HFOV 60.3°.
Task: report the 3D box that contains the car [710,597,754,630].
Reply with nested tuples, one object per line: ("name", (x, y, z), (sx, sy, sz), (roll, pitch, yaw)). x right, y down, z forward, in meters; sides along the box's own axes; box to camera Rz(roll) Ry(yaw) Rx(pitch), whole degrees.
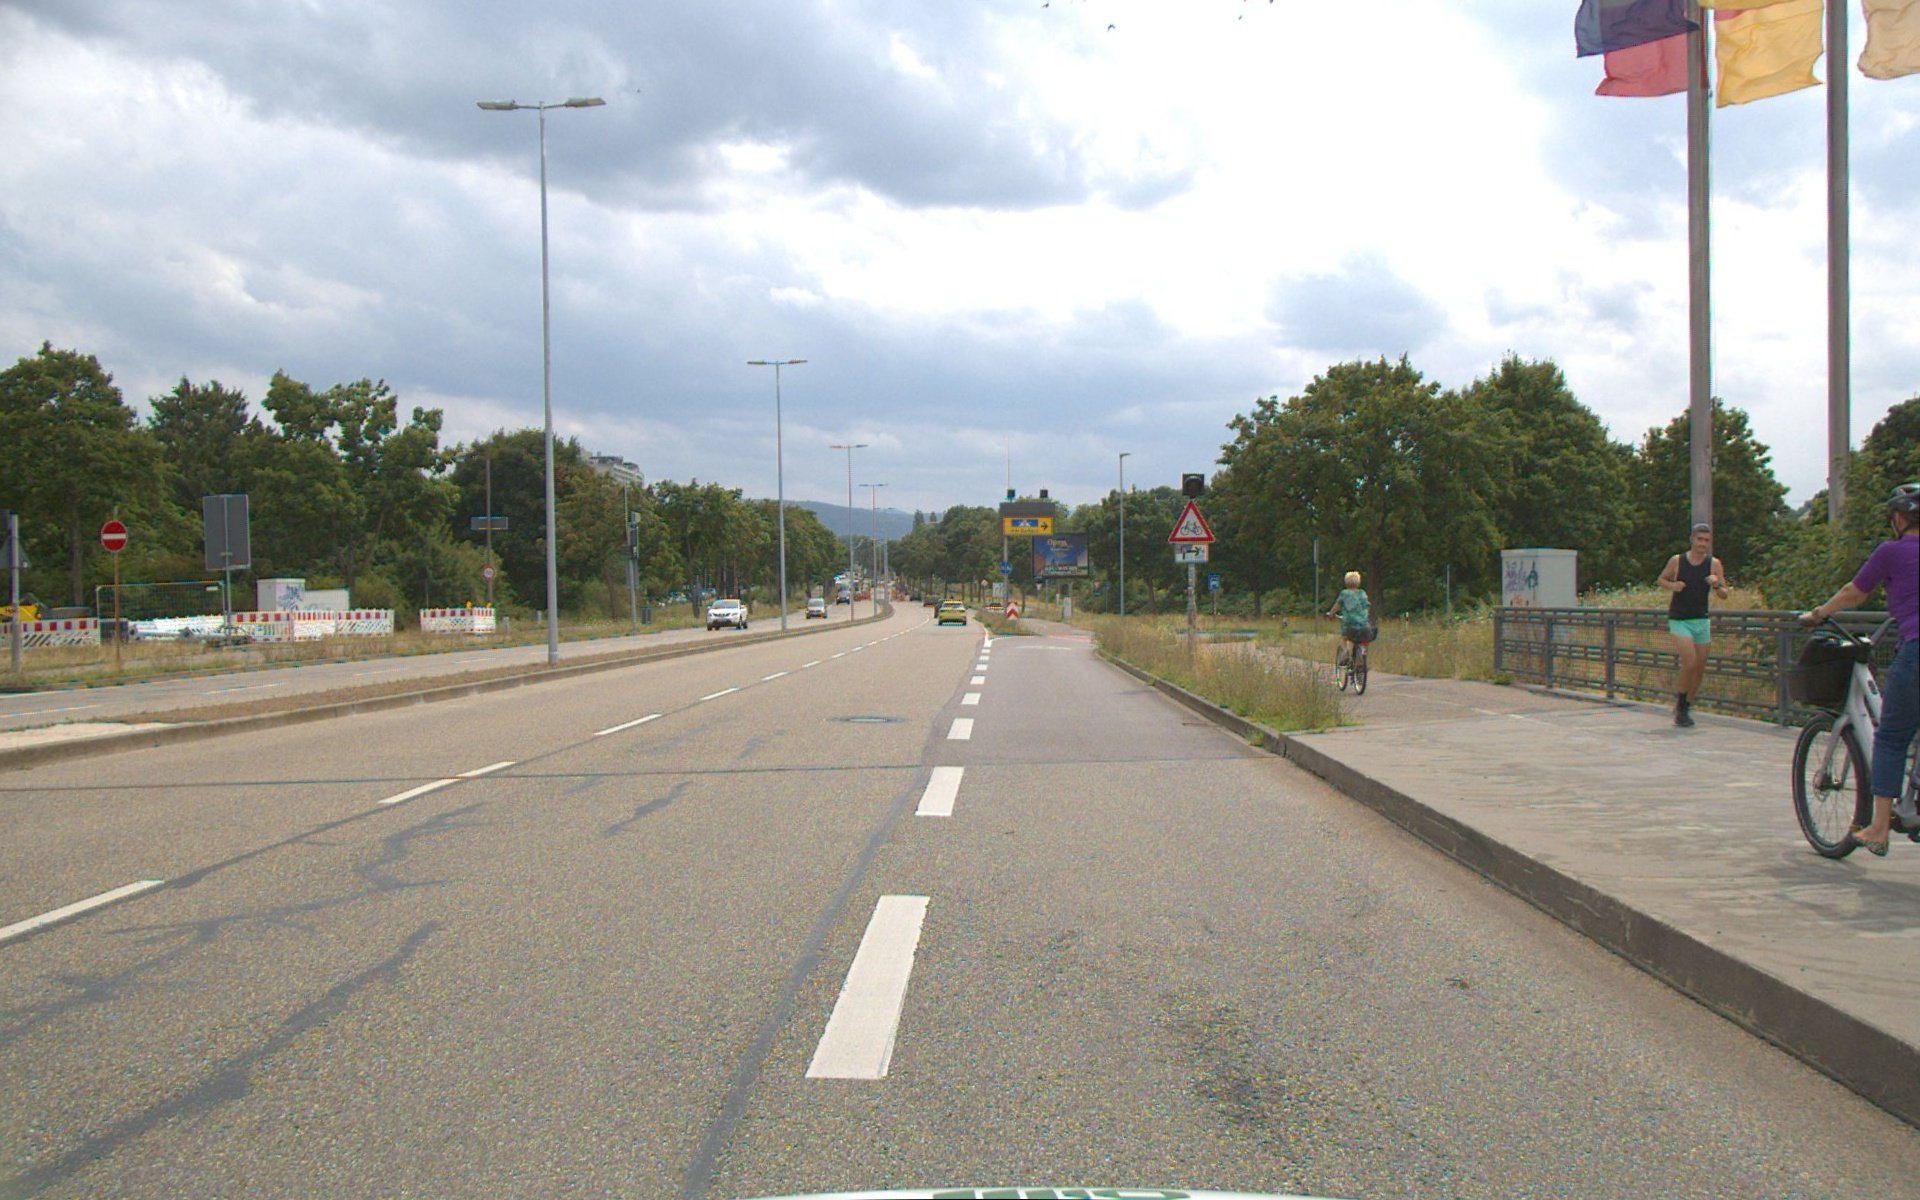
("car", (-12.137, 0.700, 88.152), (1.659, 1.657, 4.385), (0, 1, 1))

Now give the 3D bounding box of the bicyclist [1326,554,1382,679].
("bicyclist", (5.411, 0.215, 22.748), (0.609, 1.695, 0.669), (0, 1, -1))

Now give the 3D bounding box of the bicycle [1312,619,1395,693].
("bicycle", (5.423, 0.749, 22.898), (0.610, 0.904, 2.154), (0, 1, -1))

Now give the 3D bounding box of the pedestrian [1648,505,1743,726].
("pedestrian", (6.980, 0.137, 15.711), (0.614, 2.049, 0.668), (0, 1, 1))

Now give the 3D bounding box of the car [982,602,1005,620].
("car", (3.259, 1.076, 161.792), (1.973, 1.699, 3.999), (0, 1, -2))

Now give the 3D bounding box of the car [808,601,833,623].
("car", (-12.553, 1.096, 148.962), (1.864, 1.841, 4.539), (0, 1, 0))

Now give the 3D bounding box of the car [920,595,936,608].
("car", (-4.368, 0.163, 224.680), (2.161, 1.713, 4.000), (0, 1, -1))

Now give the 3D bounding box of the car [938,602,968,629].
("car", (-0.458, 0.942, 102.178), (1.757, 1.589, 3.999), (0, 1, -2))

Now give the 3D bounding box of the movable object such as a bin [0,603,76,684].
("movable object such as a bin", (-30.290, 1.346, 51.434), (4.495, 2.439, 1.995), (0, 1, -10))

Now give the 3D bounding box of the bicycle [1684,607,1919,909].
("bicycle", (4.306, 0.662, 7.786), (0.679, 1.213, 2.461), (-1, 0, -1))

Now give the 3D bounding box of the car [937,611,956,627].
("car", (-1.209, 1.629, 145.160), (1.633, 1.292, 3.999), (0, 1, -2))

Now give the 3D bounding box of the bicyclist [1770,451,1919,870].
("bicyclist", (4.299, 0.248, 7.556), (0.689, 1.786, 0.991), (-1, 0, -1))
